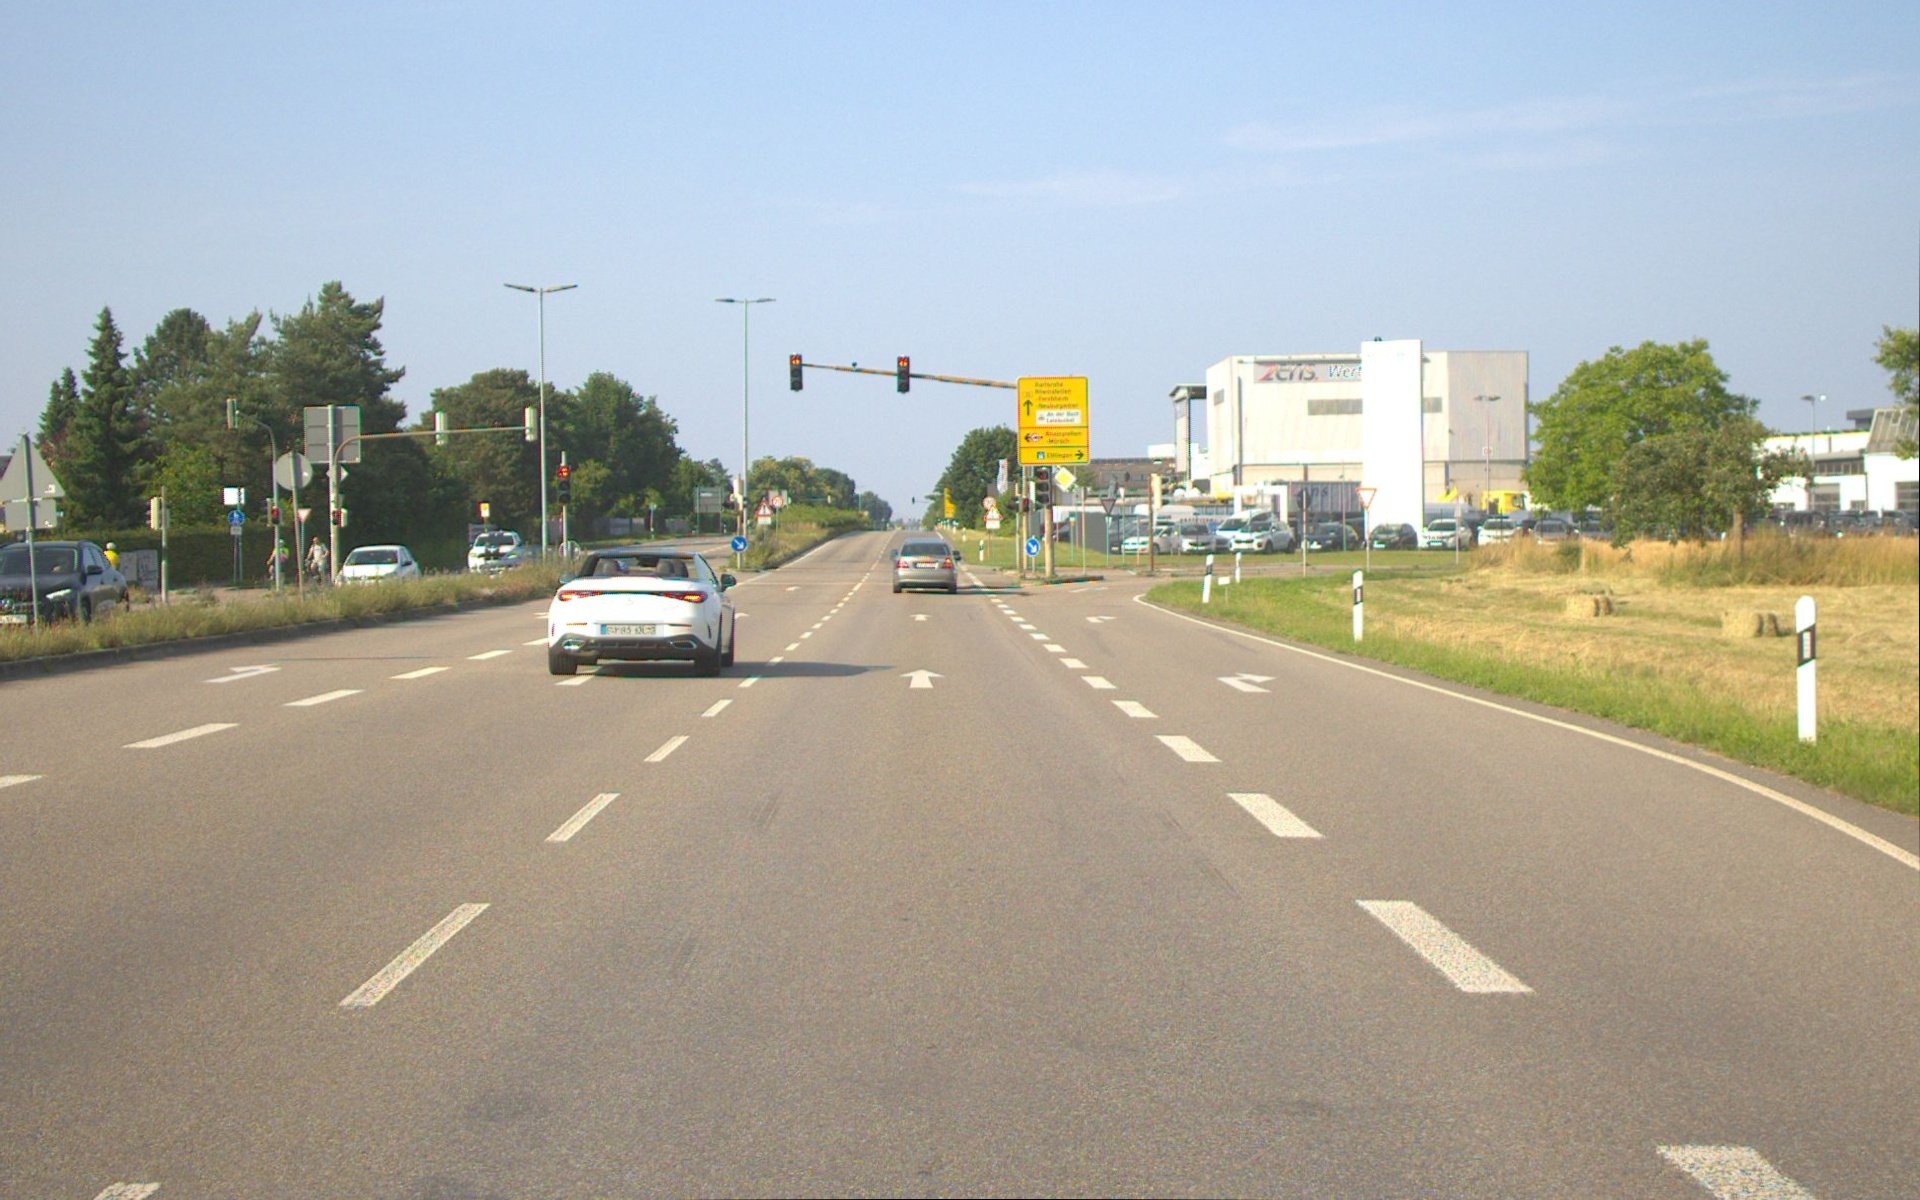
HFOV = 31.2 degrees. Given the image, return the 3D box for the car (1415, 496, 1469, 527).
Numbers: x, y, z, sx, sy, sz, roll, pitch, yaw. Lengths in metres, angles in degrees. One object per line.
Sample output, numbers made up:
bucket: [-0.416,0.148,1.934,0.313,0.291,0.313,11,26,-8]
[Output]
car: [22.621,-4.158,161.592,1.993,1.437,4.000,0,2,1]

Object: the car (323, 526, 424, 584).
car: [-14.858,-1.150,87.259,1.993,1.393,4.001,0,2,-1]

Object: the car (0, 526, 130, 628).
car: [-13.685,-0.374,51.087,1.729,1.403,4.000,0,2,0]

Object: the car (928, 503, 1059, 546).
car: [1.126,-2.555,116.039,3.986,1.403,1.955,0,2,-20]

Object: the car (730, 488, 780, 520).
car: [-9.011,-4.235,151.574,1.947,1.403,4.000,0,2,0]

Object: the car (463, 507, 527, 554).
car: [-18.071,-2.720,133.808,1.947,1.794,4.000,0,2,0]

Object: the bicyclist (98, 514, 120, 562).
bicyclist: [-23.884,-1.744,96.468,0.455,1.347,0.552,-2,2,-4]

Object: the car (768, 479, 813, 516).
car: [-8.171,-4.946,165.791,1.947,1.766,4.000,0,2,0]

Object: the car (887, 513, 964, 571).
car: [-0.937,-1.578,92.105,1.993,1.481,4.001,0,2,-1]

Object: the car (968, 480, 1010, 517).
car: [1.421,-4.899,165.952,1.993,1.751,4.000,0,2,1]

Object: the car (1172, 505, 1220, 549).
car: [10.965,-3.427,160.222,1.993,2.006,4.000,0,2,1]

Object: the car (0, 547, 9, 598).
car: [-31.159,-0.849,104.405,4.182,1.517,2.001,0,2,-9]

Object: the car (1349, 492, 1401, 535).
car: [19.549,-4.102,162.026,1.993,2.006,4.000,0,2,1]

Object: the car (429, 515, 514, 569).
car: [-14.195,-1.706,100.070,1.993,1.481,4.001,0,2,-1]

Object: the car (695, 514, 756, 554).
car: [-8.628,-2.441,126.703,1.947,1.403,4.000,0,2,0]

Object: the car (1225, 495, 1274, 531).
car: [13.544,-4.092,160.931,1.993,1.638,4.000,0,2,1]

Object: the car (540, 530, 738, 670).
car: [-3.508,-0.040,38.177,1.909,1.417,4.001,0,2,-1]
